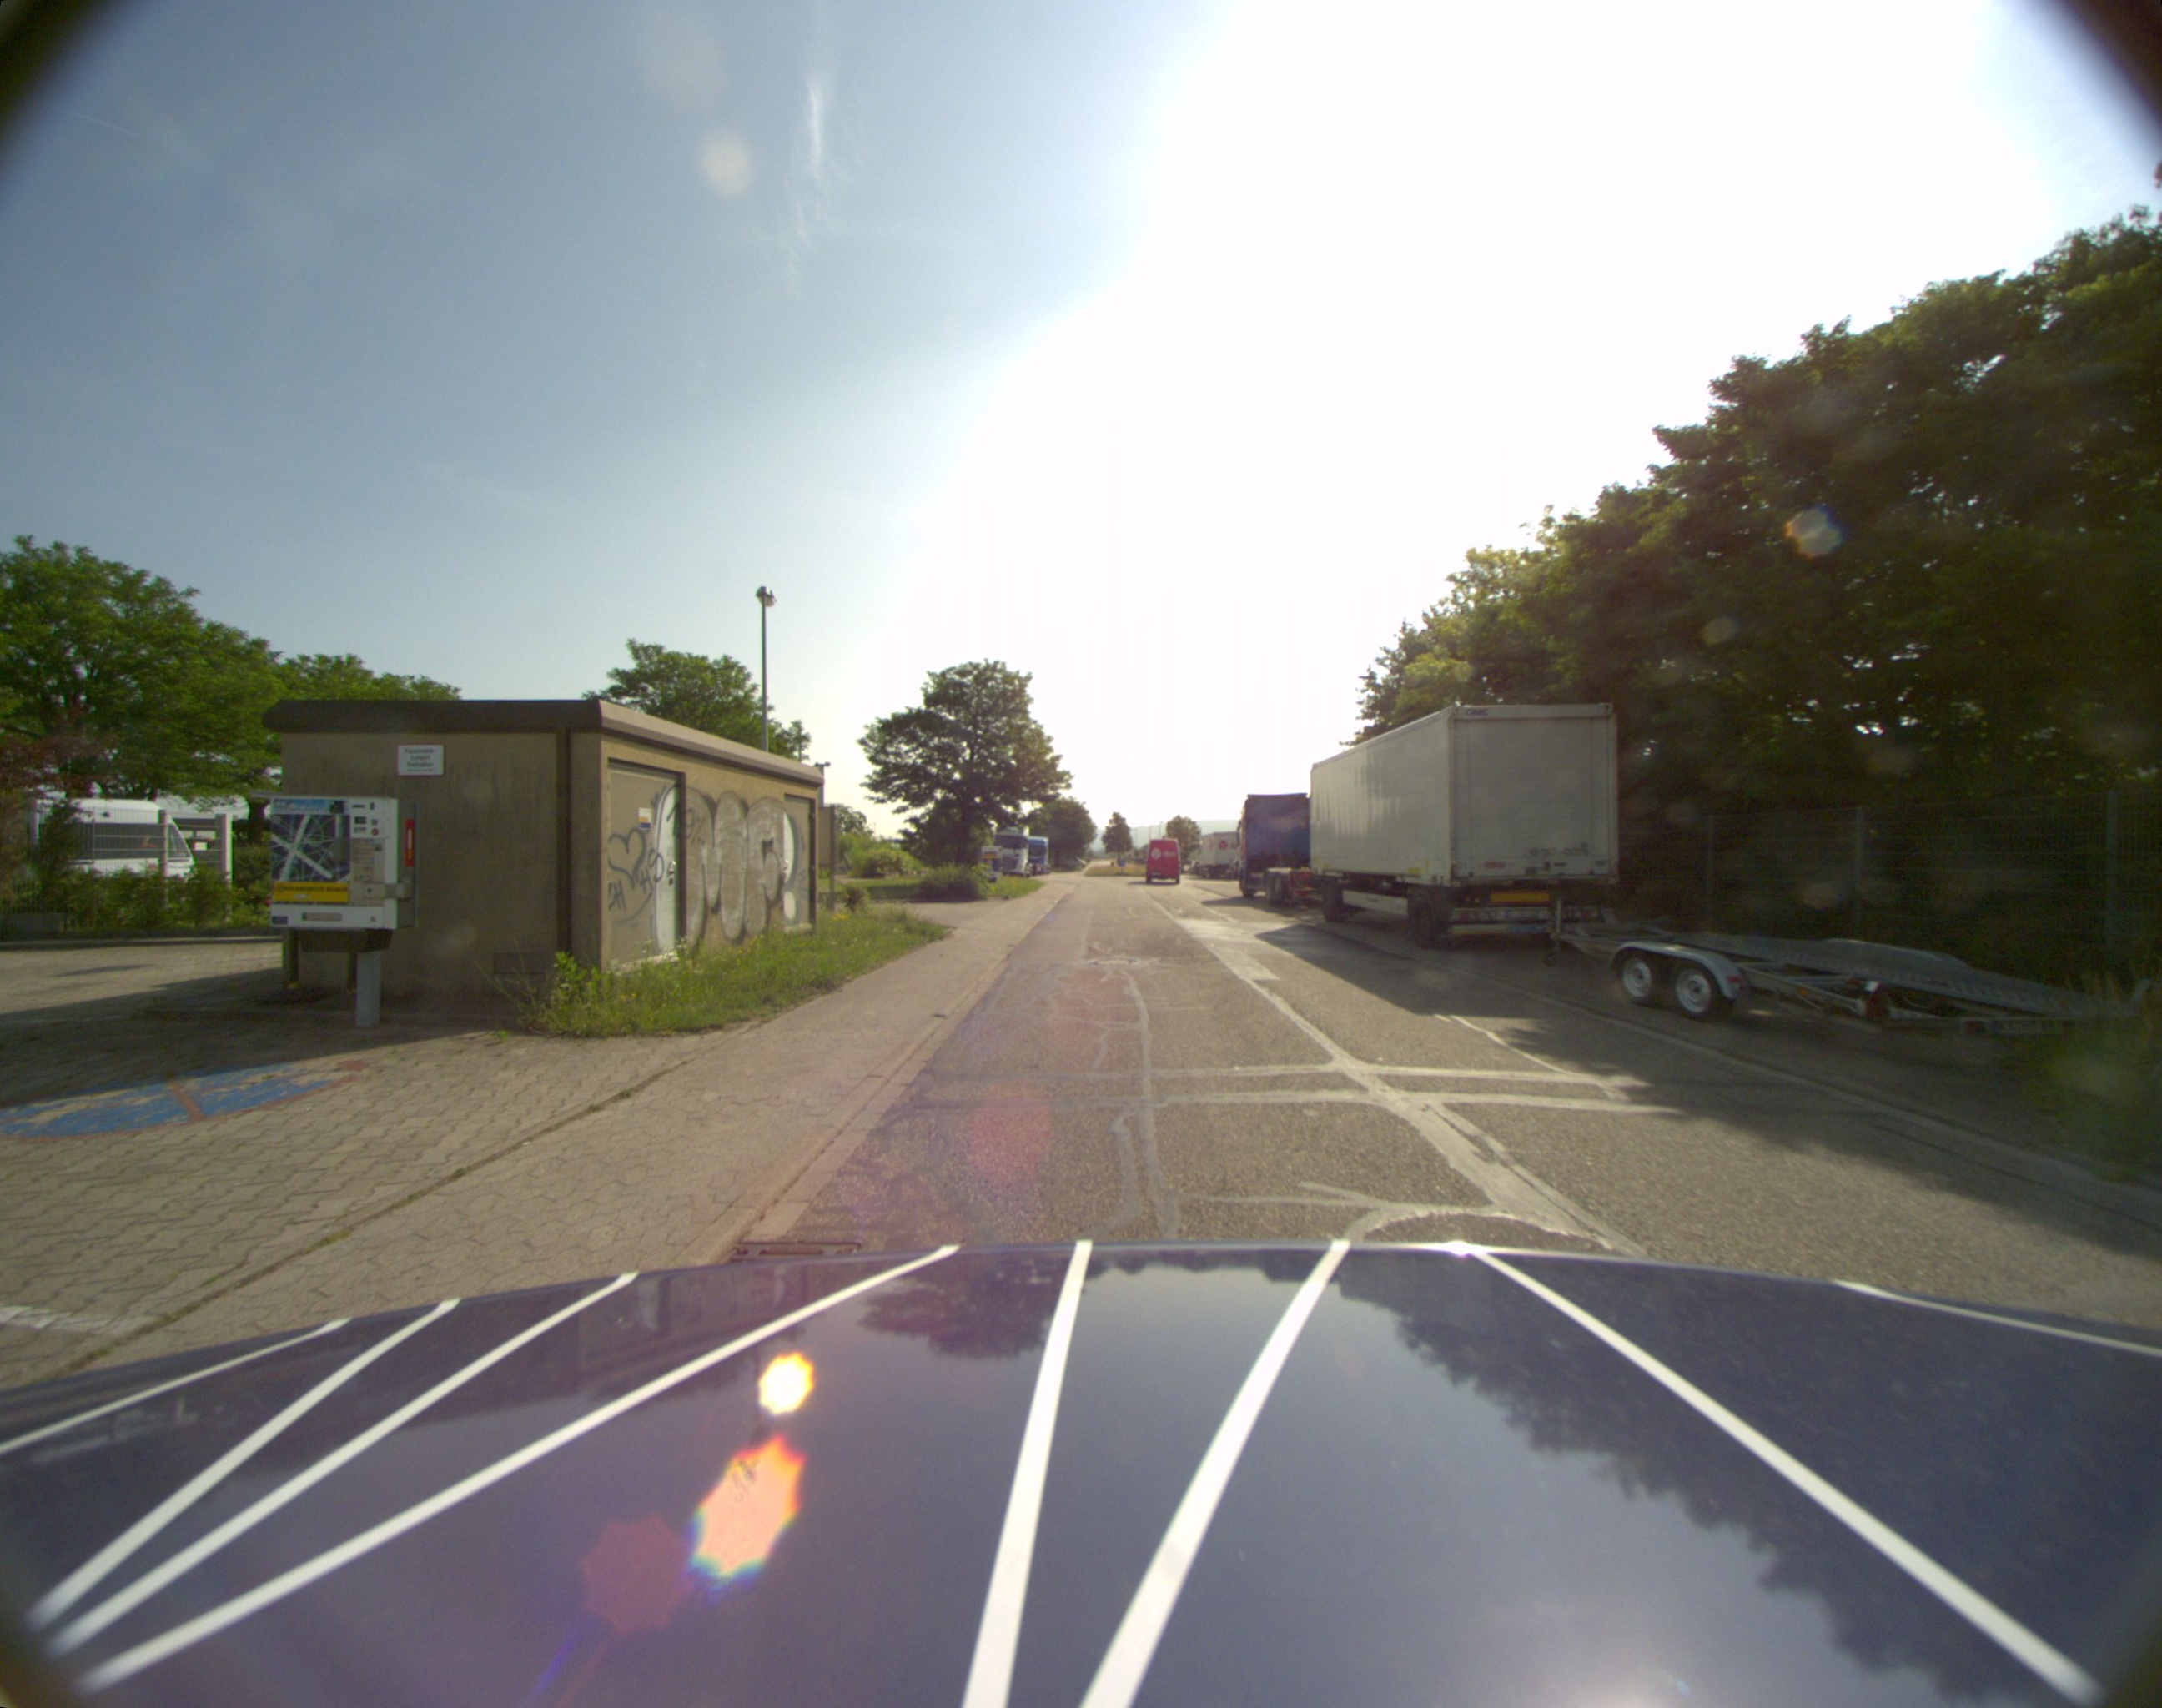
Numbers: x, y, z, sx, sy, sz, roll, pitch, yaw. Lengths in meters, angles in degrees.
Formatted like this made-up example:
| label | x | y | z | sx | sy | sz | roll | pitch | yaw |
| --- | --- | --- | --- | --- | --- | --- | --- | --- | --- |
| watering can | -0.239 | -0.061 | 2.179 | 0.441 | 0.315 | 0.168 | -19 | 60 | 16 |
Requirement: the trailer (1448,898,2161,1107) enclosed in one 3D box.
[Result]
| label | x | y | z | sx | sy | sz | roll | pitch | yaw |
| --- | --- | --- | --- | --- | --- | --- | --- | --- | --- |
| trailer | 6.754 | 1.178 | 8.187 | 2.655 | 0.979 | 6.243 | 1 | 0 | 1 |

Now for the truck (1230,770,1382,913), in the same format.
| label | x | y | z | sx | sy | sz | roll | pitch | yaw |
| --- | --- | --- | --- | --- | --- | --- | --- | --- | --- |
| truck | 7.151 | -0.370 | 25.771 | 2.719 | 3.862 | 9.637 | -1 | 0 | 3 |

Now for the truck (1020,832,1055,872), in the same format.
| label | x | y | z | sx | sy | sz | roll | pitch | yaw |
| --- | --- | --- | --- | --- | --- | --- | --- | --- | --- |
| truck | -4.507 | -0.183 | 81.127 | 3.043 | 3.916 | 10.578 | 0 | 0 | 1 |

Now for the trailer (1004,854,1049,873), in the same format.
| label | x | y | z | sx | sy | sz | roll | pitch | yaw |
| --- | --- | --- | --- | --- | --- | --- | --- | --- | --- |
| trailer | -4.622 | 0.748 | 66.893 | 2.552 | 1.383 | 14.137 | 1 | 0 | 2 |

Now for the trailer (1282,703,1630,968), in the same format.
| label | x | y | z | sx | sy | sz | roll | pitch | yaw |
| --- | --- | --- | --- | --- | --- | --- | --- | --- | --- |
| trailer | 6.861 | -0.302 | 16.163 | 2.706 | 3.862 | 9.765 | -1 | 0 | 1 |

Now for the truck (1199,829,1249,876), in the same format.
| label | x | y | z | sx | sy | sz | roll | pitch | yaw |
| --- | --- | --- | --- | --- | --- | --- | --- | --- | --- |
| truck | 12.417 | -0.150 | 66.911 | 2.783 | 3.831 | 10.063 | 1 | 0 | 2 |

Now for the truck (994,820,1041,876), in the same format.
| label | x | y | z | sx | sy | sz | roll | pitch | yaw |
| --- | --- | --- | --- | --- | --- | --- | --- | --- | --- |
| truck | -4.792 | -0.486 | 59.023 | 2.559 | 3.958 | 8.581 | 2 | 1 | 1 |

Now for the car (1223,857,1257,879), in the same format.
| label | x | y | z | sx | sy | sz | roll | pitch | yaw |
| --- | --- | --- | --- | --- | --- | --- | --- | --- | --- |
| car | 12.179 | 1.043 | 58.500 | 1.767 | 1.583 | 4.193 | -2 | 0 | 0 |

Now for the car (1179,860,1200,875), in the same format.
| label | x | y | z | sx | sy | sz | roll | pitch | yaw |
| --- | --- | --- | --- | --- | --- | --- | --- | --- | --- |
| car | 11.705 | 1.440 | 82.016 | 1.735 | 1.573 | 3.967 | -2 | 0 | 1 |

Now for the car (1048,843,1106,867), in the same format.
| label | x | y | z | sx | sy | sz | roll | pitch | yaw |
| --- | --- | --- | --- | --- | --- | --- | --- | --- | --- |
| car | -0.633 | 0.137 | 110.288 | 8.150 | 3.217 | 2.663 | -1 | 1 | -4 |

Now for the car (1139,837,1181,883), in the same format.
| label | x | y | z | sx | sy | sz | roll | pitch | yaw |
| --- | --- | --- | --- | --- | --- | --- | --- | --- | --- |
| car | 4.687 | 0.331 | 45.852 | 1.998 | 2.532 | 6.990 | 1 | 0 | 2 |

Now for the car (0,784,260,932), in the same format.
| label | x | y | z | sx | sy | sz | roll | pitch | yaw |
| --- | --- | --- | --- | --- | --- | --- | --- | --- | --- |
| car | -19.791 | 0.113 | 15.322 | 6.729 | 2.524 | 2.284 | -1 | 1 | 24 |
